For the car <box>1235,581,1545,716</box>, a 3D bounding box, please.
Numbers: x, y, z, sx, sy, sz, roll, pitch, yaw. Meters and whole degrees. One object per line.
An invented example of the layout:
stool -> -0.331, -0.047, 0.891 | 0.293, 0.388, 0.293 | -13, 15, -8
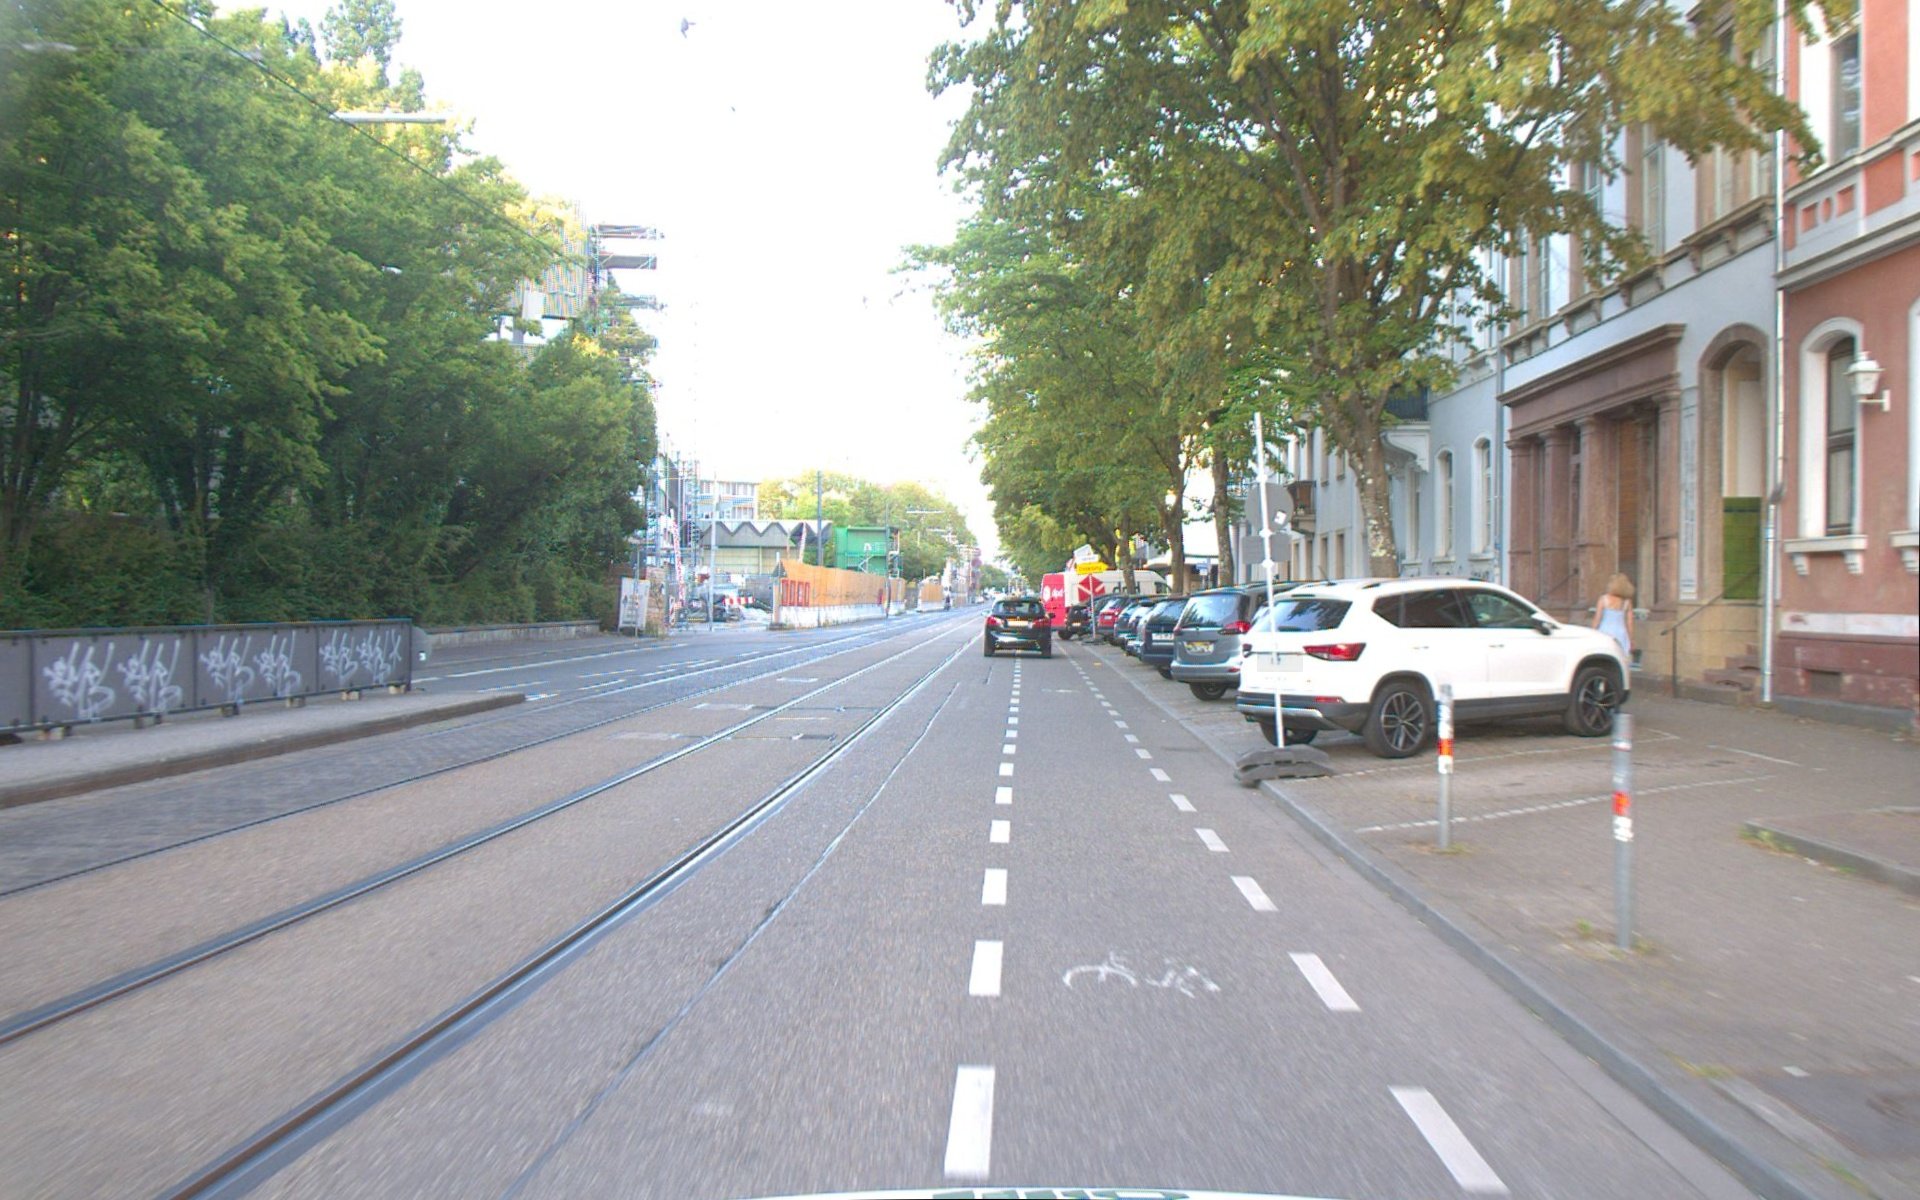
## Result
car -> 5.696, 0.569, 21.799 | 3.906, 1.503, 1.810 | -3, 2, -33

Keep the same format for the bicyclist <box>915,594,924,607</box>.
bicyclist -> -4.103, 0.062, 166.957 | 0.925, 1.369, 1.111 | 0, 0, -1

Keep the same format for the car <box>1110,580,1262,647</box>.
car -> 6.364, 0.363, 46.477 | 3.901, 1.631, 1.822 | -3, 0, -30

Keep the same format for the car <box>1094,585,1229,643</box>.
car -> 6.449, 0.436, 52.929 | 3.892, 1.631, 1.826 | -3, 0, -25

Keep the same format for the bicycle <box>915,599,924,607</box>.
bicycle -> -4.117, 0.314, 167.728 | 0.928, 0.864, 2.696 | 0, 0, -1

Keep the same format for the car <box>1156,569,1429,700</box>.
car -> 4.975, 0.475, 24.541 | 3.916, 1.697, 1.875 | -3, 0, -39

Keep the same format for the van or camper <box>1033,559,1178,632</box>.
van or camper -> 5.752, -0.173, 65.013 | 5.481, 2.574, 2.063 | -3, 0, -33

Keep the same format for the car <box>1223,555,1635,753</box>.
car -> 4.691, 0.452, 16.438 | 3.898, 1.655, 1.658 | -3, 1, -29

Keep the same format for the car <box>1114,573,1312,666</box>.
car -> 5.384, 0.391, 35.045 | 3.908, 1.631, 1.819 | -5, 1, -34

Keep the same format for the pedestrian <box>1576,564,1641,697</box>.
pedestrian -> 8.105, 0.369, 20.688 | 0.574, 1.637, 0.625 | 0, 0, 2

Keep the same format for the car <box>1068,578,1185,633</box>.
car -> 6.163, 0.215, 61.286 | 3.892, 1.796, 1.826 | -4, 0, -25

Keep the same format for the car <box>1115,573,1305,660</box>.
car -> 5.659, 0.359, 37.355 | 3.902, 1.631, 1.822 | -5, 1, -30

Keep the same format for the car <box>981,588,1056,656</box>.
car -> 1.541, 0.548, 43.837 | 1.843, 1.648, 4.001 | 3, 0, 2

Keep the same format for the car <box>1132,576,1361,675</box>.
car -> 5.302, 0.445, 30.541 | 3.900, 1.631, 1.822 | -2, 0, -30
